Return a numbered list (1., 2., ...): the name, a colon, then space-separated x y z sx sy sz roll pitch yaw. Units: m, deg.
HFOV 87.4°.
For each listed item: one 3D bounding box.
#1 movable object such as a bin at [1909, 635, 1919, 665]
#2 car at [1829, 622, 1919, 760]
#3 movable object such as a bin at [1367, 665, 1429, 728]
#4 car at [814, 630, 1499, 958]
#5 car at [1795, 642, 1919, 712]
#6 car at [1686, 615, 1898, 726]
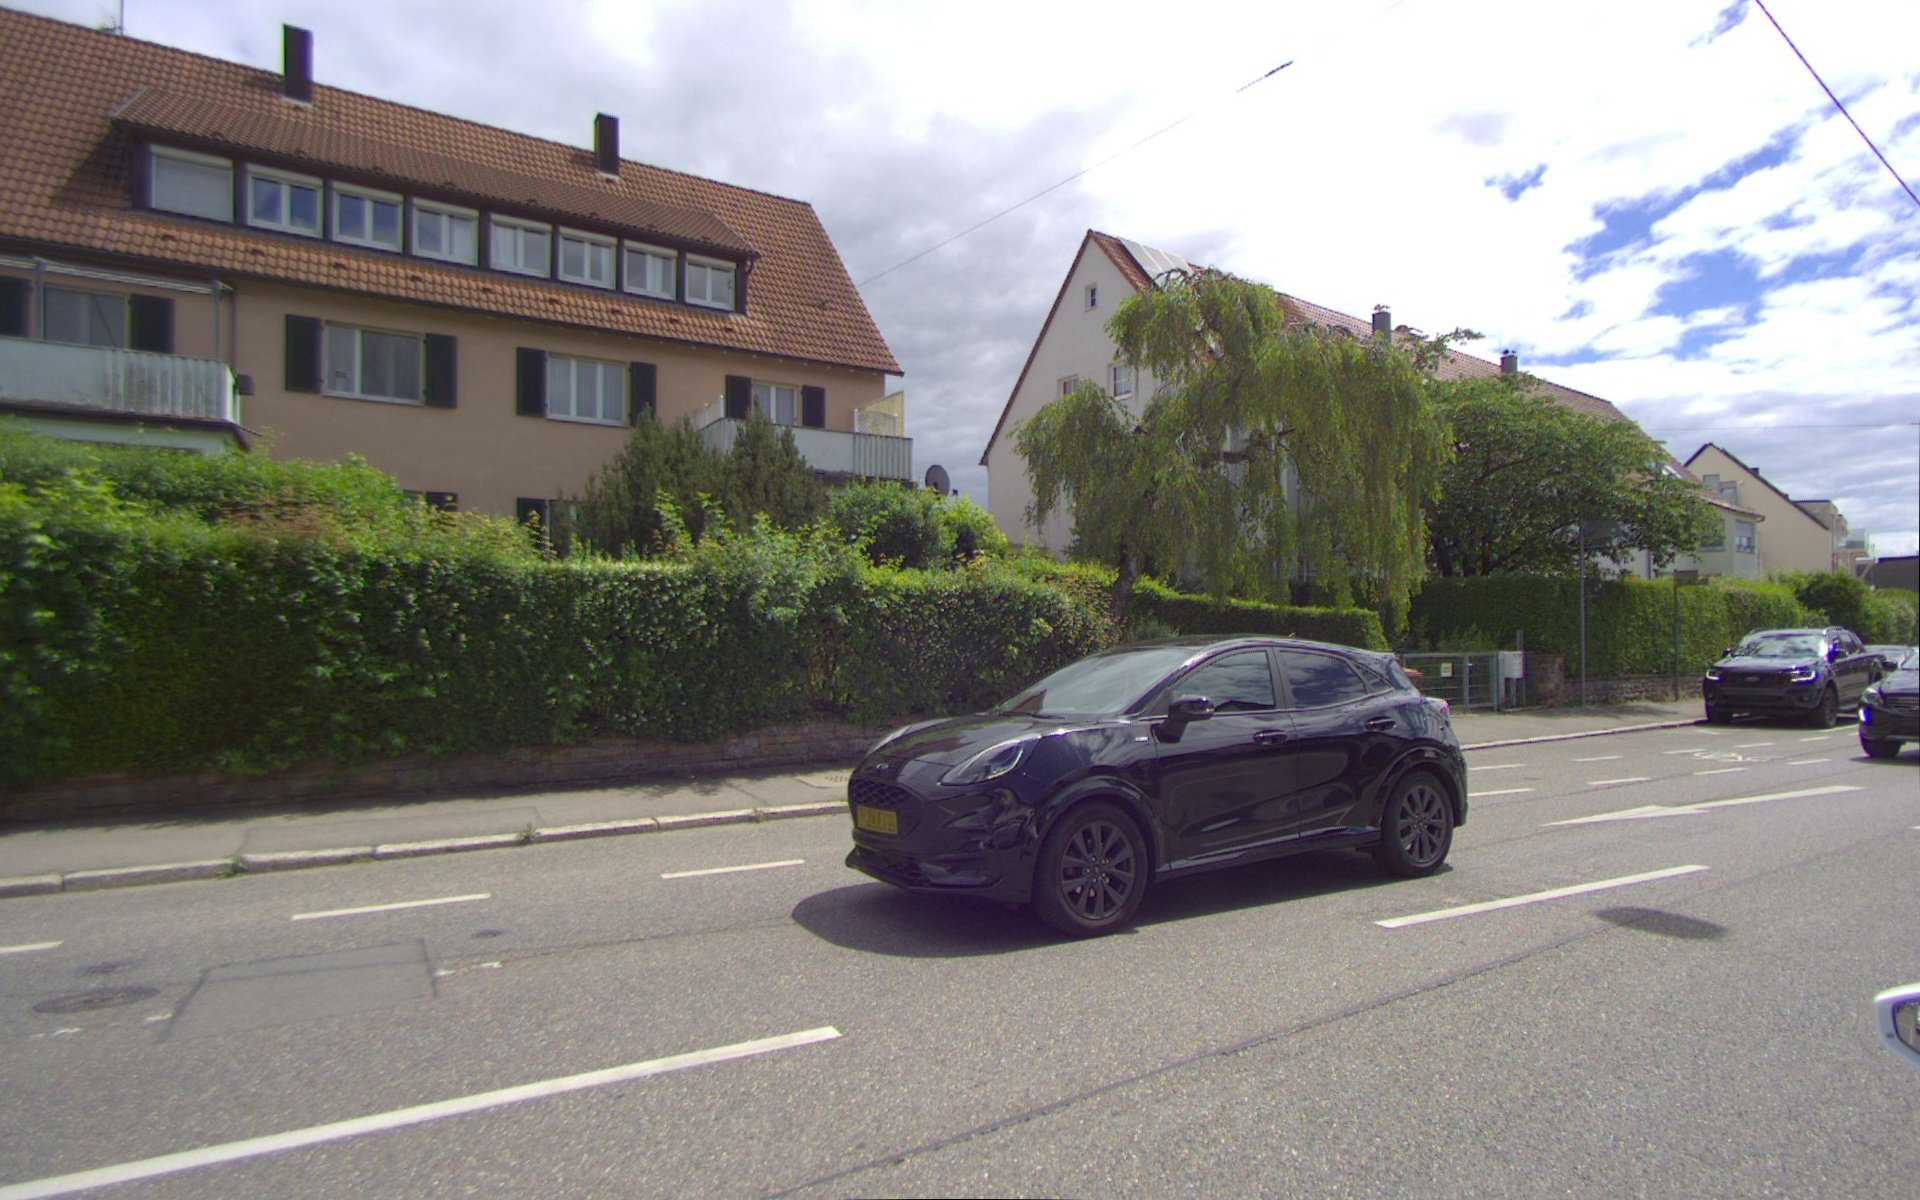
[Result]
1. movable object such as a bin: 48.715 2.502 50.693 1.205 1.501 1.056 2 -2 -41
2. car: 13.545 1.148 13.218 4.245 1.669 1.907 2 -6 -32
3. movable object such as a bin: 7.150 1.562 16.403 0.638 0.957 0.672 1 0 -33
4. car: 1.300 0.977 6.274 4.065 1.475 1.690 2 -4 -29
5. car: 20.897 1.692 23.040 4.300 1.436 1.765 2 -2 -37
6. car: 16.556 1.344 19.886 5.353 1.919 1.980 2 -4 -37
